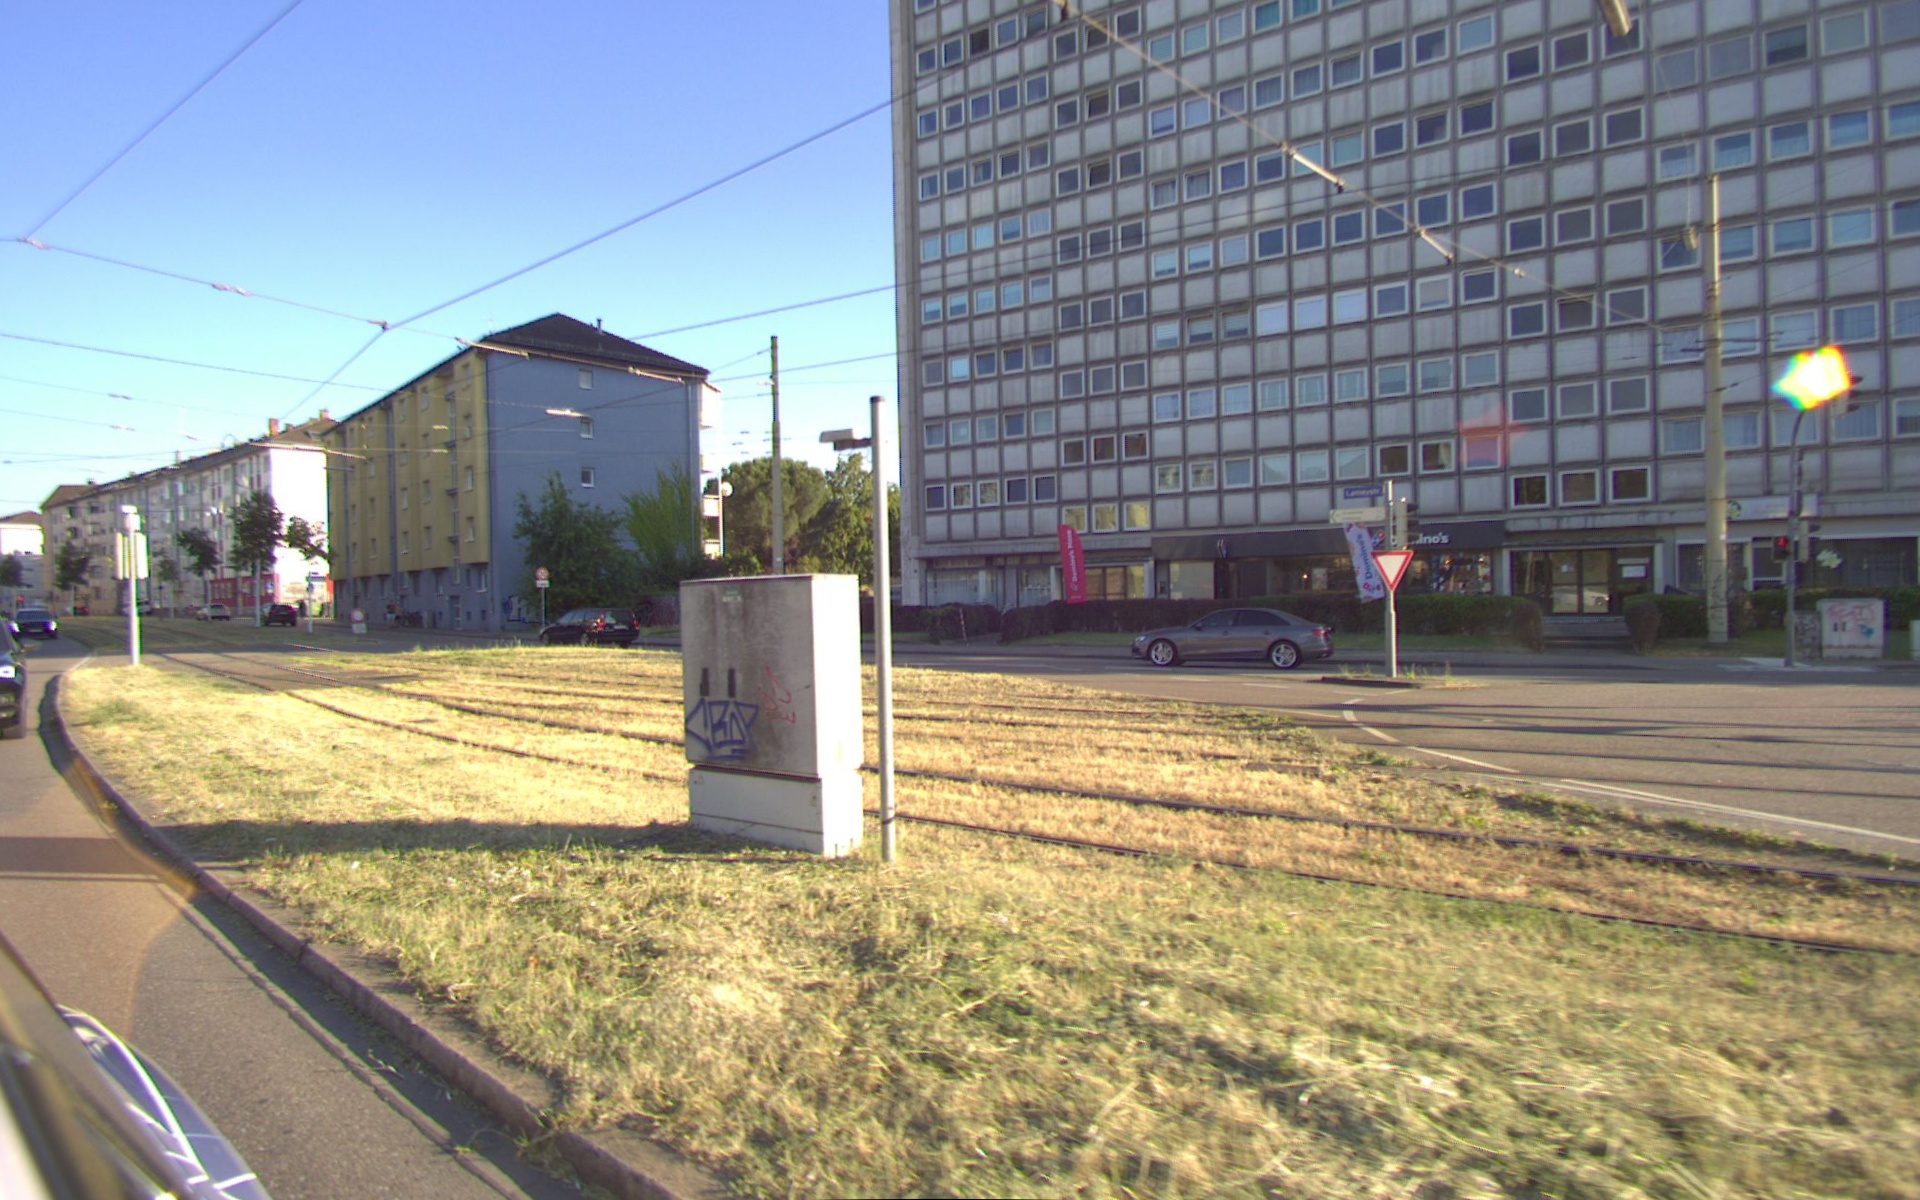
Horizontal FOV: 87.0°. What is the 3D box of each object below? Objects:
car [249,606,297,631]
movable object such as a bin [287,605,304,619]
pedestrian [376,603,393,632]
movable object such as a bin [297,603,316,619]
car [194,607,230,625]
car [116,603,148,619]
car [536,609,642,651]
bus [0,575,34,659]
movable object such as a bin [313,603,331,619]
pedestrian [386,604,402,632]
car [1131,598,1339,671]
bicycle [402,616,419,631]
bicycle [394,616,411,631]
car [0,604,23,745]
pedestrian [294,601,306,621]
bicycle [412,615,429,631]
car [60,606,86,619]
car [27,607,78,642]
[{"bbox_3d":[-49.167,1.344,72.369,4.709,1.674,1.897,-2,-1,44],"label":"car"},{"bbox_3d":[-62.228,1.097,94.787,0.805,1.296,1.146,0,1,40],"label":"movable object such as a bin"},{"bbox_3d":[-36.428,1.119,64.062,0.886,1.786,0.586,-1,4,45],"label":"pedestrian"},{"bbox_3d":[-60.885,1.040,94.247,1.138,1.426,1.204,0,1,40],"label":"movable object such as a bin"},{"bbox_3d":[-63.728,1.371,86.230,4.316,1.471,1.679,0,-1,43],"label":"car"},{"bbox_3d":[-93.927,1.260,114.740,4.414,1.843,1.849,-1,-1,37],"label":"car"},{"bbox_3d":[-13.850,1.093,37.635,4.396,1.493,1.758,-1,-1,40],"label":"car"},{"bbox_3d":[-39.263,0.629,40.171,2.670,3.100,10.623,-2,1,-37],"label":"bus"},{"bbox_3d":[-60.028,1.014,95.202,1.107,1.426,1.204,0,1,40],"label":"movable object such as a bin"},{"bbox_3d":[-36.168,1.140,64.662,0.706,1.706,0.609,-1,4,44],"label":"pedestrian"},{"bbox_3d":[6.516,0.783,24.053,4.561,1.608,1.643,-1,0,26],"label":"car"},{"bbox_3d":[-35.140,1.489,64.740,0.422,0.932,1.913,-6,4,-44],"label":"bicycle"},{"bbox_3d":[-36.129,1.506,65.551,0.422,0.932,1.913,-5,3,-44],"label":"bicycle"},{"bbox_3d":[-13.128,0.893,12.815,1.762,1.636,4.222,0,-1,-42],"label":"car"},{"bbox_3d":[-57.758,0.953,88.574,0.791,1.702,0.607,-1,0,39],"label":"pedestrian"},{"bbox_3d":[-33.786,1.463,63.353,0.422,0.967,1.913,-1,0,-44],"label":"bicycle"},{"bbox_3d":[-107.050,1.491,122.079,4.795,1.480,1.774,0,-1,42],"label":"car"},{"bbox_3d":[-49.236,1.316,54.874,1.970,1.785,4.004,0,-1,-43],"label":"car"}]
